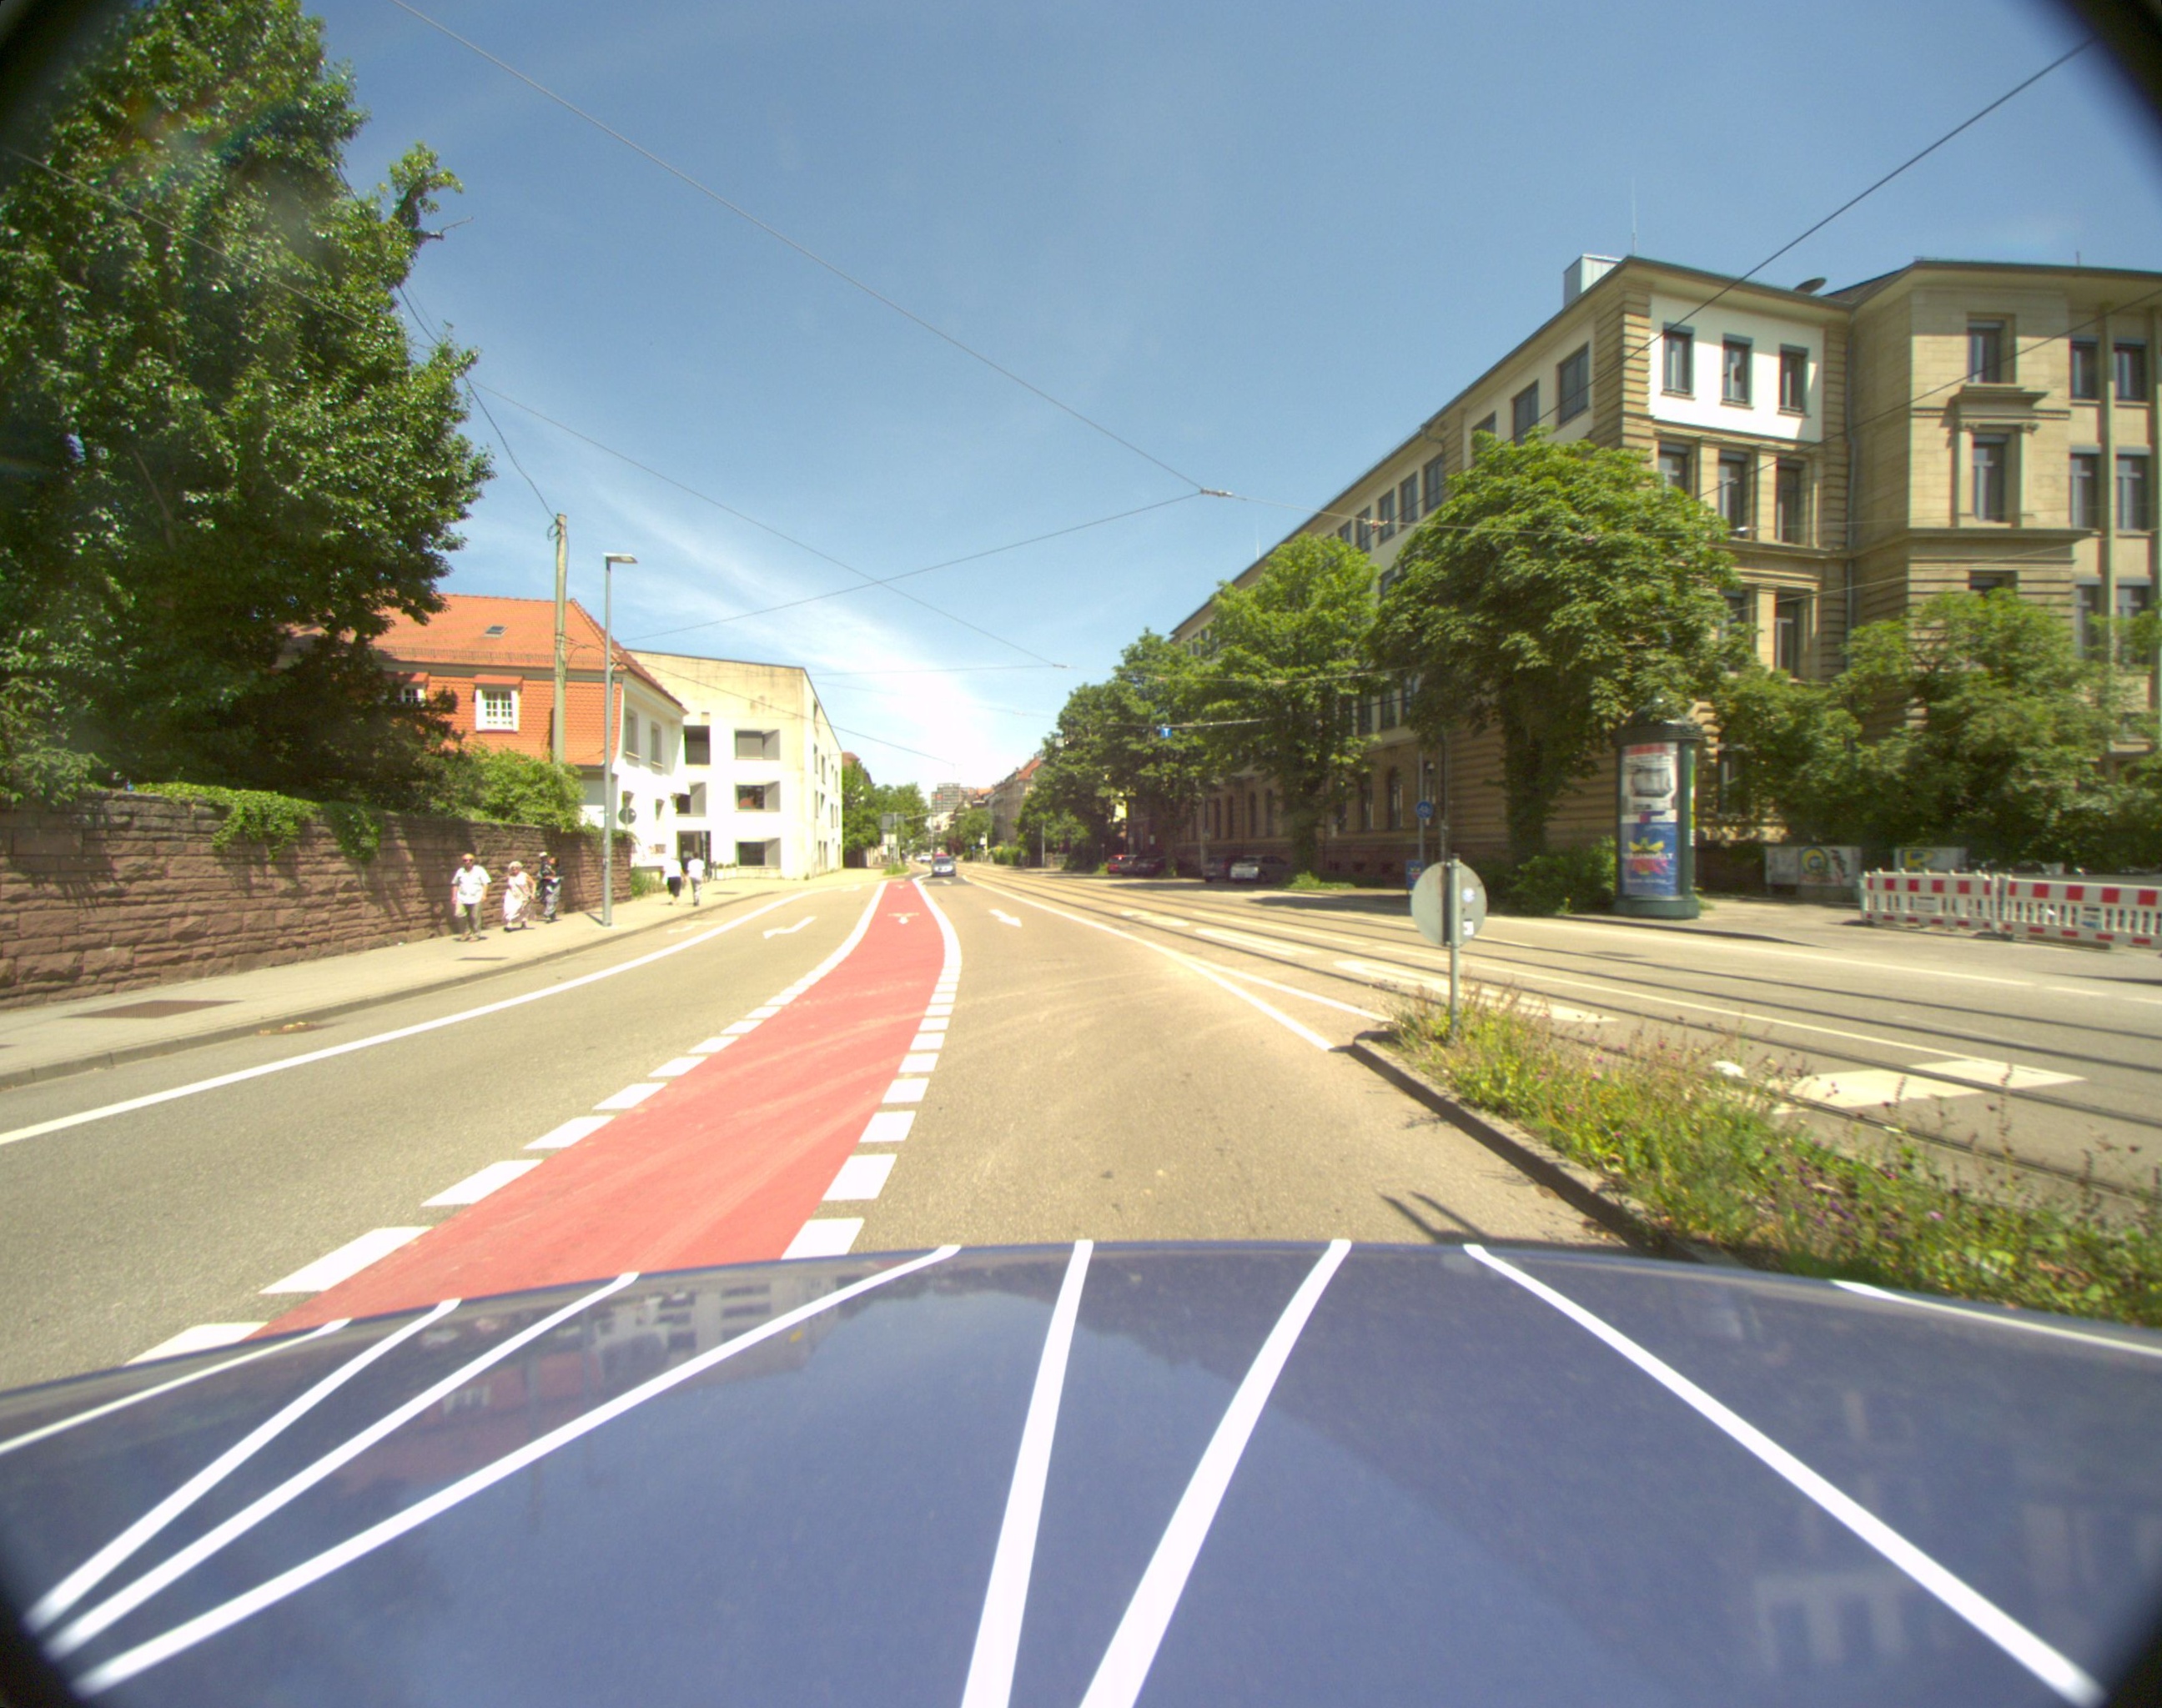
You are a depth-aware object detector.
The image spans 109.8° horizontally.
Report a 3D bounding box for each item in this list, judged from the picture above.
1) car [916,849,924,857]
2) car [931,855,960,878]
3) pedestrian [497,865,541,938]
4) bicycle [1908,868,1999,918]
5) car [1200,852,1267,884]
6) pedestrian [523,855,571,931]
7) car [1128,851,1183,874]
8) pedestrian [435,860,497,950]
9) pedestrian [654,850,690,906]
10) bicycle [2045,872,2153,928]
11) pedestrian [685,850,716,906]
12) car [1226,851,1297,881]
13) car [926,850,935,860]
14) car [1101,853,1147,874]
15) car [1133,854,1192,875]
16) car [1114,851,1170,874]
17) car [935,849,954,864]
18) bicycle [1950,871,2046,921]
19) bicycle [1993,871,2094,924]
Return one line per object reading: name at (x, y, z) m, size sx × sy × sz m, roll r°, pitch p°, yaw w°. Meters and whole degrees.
car at (-40.039, -0.267, 188.987) m, size 1.884 × 1.675 × 3.363 m, roll -1°, pitch 1°, yaw -11°
car at (-10.102, 0.892, 56.659) m, size 1.895 × 1.561 × 4.031 m, roll -1°, pitch 1°, yaw -13°
pedestrian at (-11.963, 0.998, 16.182) m, size 0.517 × 1.524 × 0.597 m, roll 0°, pitch 1°, yaw -8°
bicycle at (20.708, 0.915, 18.037) m, size 1.687 × 1.141 × 0.463 m, roll -1°, pitch 2°, yaw -3°
car at (8.259, 0.718, 40.972) m, size 3.684 × 1.511 × 1.664 m, roll -3°, pitch 2°, yaw -41°
pedestrian at (-12.690, 0.917, 18.079) m, size 0.719 × 1.763 × 0.628 m, roll -1°, pitch 0°, yaw -15°
car at (5.361, 0.571, 54.335) m, size 3.826 × 1.568 × 1.788 m, roll 0°, pitch 0°, yaw -42°
pedestrian at (-11.562, 0.935, 14.299) m, size 0.663 × 1.637 × 0.624 m, roll 0°, pitch 1°, yaw -8°
pedestrian at (-13.224, 0.768, 24.581) m, size 0.817 × 1.797 × 0.699 m, roll 0°, pitch 1°, yaw -9°
bicycle at (20.953, 0.931, 15.641) m, size 1.738 × 1.096 × 0.504 m, roll 0°, pitch 1°, yaw -6°
pedestrian at (-12.381, 0.763, 24.738) m, size 0.679 × 1.797 × 0.747 m, roll 0°, pitch 1°, yaw -9°
car at (9.081, 0.561, 38.069) m, size 3.556 × 1.398 × 1.697 m, roll -1°, pitch 1°, yaw -41°
car at (-27.977, 0.214, 141.037) m, size 1.621 × 1.700 × 3.425 m, roll -1°, pitch 1°, yaw -12°
car at (3.447, 0.724, 60.139) m, size 3.359 × 1.507 × 1.665 m, roll -2°, pitch 1°, yaw -39°
car at (5.536, 0.677, 51.255) m, size 3.942 × 1.366 × 1.665 m, roll 0°, pitch 0°, yaw -39°
car at (4.639, 0.618, 57.135) m, size 4.330 × 1.575 × 1.664 m, roll -2°, pitch 2°, yaw -42°
car at (-15.592, 0.253, 86.529) m, size 1.877 × 1.638 × 3.773 m, roll -1°, pitch 1°, yaw -14°
bicycle at (20.765, 0.944, 17.218) m, size 1.738 × 1.096 × 0.504 m, roll 0°, pitch 1°, yaw -6°
bicycle at (20.851, 0.934, 16.469) m, size 1.738 × 1.096 × 0.504 m, roll 0°, pitch 1°, yaw -6°
